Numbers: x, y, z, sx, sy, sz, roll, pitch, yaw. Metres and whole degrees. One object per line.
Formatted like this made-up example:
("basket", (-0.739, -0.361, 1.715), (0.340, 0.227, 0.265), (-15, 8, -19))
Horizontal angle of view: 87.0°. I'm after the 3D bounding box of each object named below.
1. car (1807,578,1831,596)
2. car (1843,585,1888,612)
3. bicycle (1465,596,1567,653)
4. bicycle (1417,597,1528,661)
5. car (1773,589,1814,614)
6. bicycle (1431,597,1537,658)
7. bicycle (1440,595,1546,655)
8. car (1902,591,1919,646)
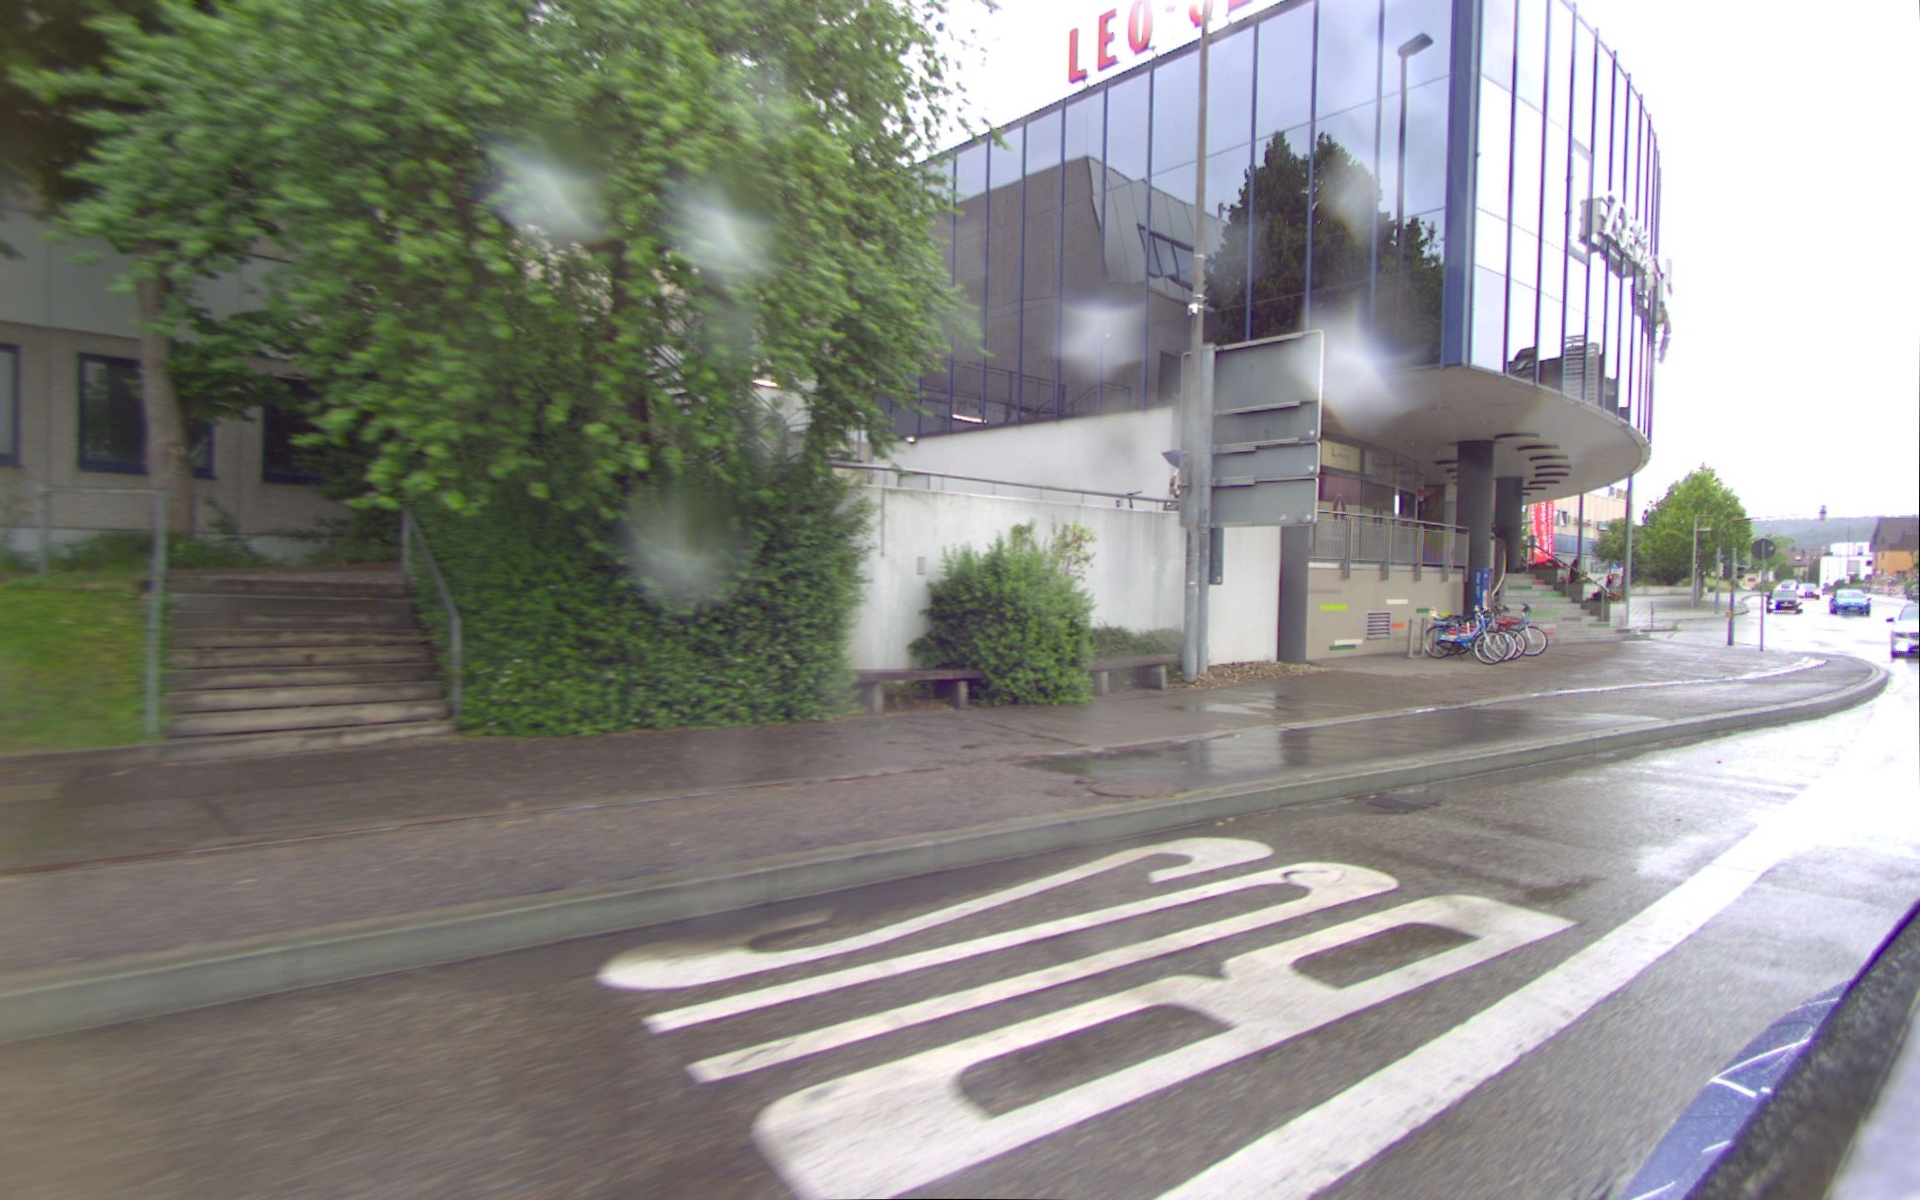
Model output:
("car", (79.756, -1.212, 93.951), (1.578, 1.660, 3.586), (1, 1, 41))
("car", (54.335, -0.137, 60.789), (1.894, 1.545, 3.941), (1, 1, 41))
("bicycle", (12.275, 0.512, 22.394), (0.682, 1.124, 1.834), (-1, 3, -40))
("bicycle", (10.224, 0.548, 20.236), (0.682, 1.124, 1.814), (0, 3, -40))
("car", (52.497, 0.068, 63.750), (1.894, 1.545, 3.941), (1, 1, 41))
("bicycle", (10.759, 0.540, 20.825), (0.673, 1.098, 1.805), (-2, 4, -40))
("bicycle", (11.232, 0.511, 21.385), (0.682, 1.124, 1.814), (0, 3, -40))
("car", (28.946, 0.534, 29.420), (4.249, 1.569, 1.761), (1, -1, -40))
